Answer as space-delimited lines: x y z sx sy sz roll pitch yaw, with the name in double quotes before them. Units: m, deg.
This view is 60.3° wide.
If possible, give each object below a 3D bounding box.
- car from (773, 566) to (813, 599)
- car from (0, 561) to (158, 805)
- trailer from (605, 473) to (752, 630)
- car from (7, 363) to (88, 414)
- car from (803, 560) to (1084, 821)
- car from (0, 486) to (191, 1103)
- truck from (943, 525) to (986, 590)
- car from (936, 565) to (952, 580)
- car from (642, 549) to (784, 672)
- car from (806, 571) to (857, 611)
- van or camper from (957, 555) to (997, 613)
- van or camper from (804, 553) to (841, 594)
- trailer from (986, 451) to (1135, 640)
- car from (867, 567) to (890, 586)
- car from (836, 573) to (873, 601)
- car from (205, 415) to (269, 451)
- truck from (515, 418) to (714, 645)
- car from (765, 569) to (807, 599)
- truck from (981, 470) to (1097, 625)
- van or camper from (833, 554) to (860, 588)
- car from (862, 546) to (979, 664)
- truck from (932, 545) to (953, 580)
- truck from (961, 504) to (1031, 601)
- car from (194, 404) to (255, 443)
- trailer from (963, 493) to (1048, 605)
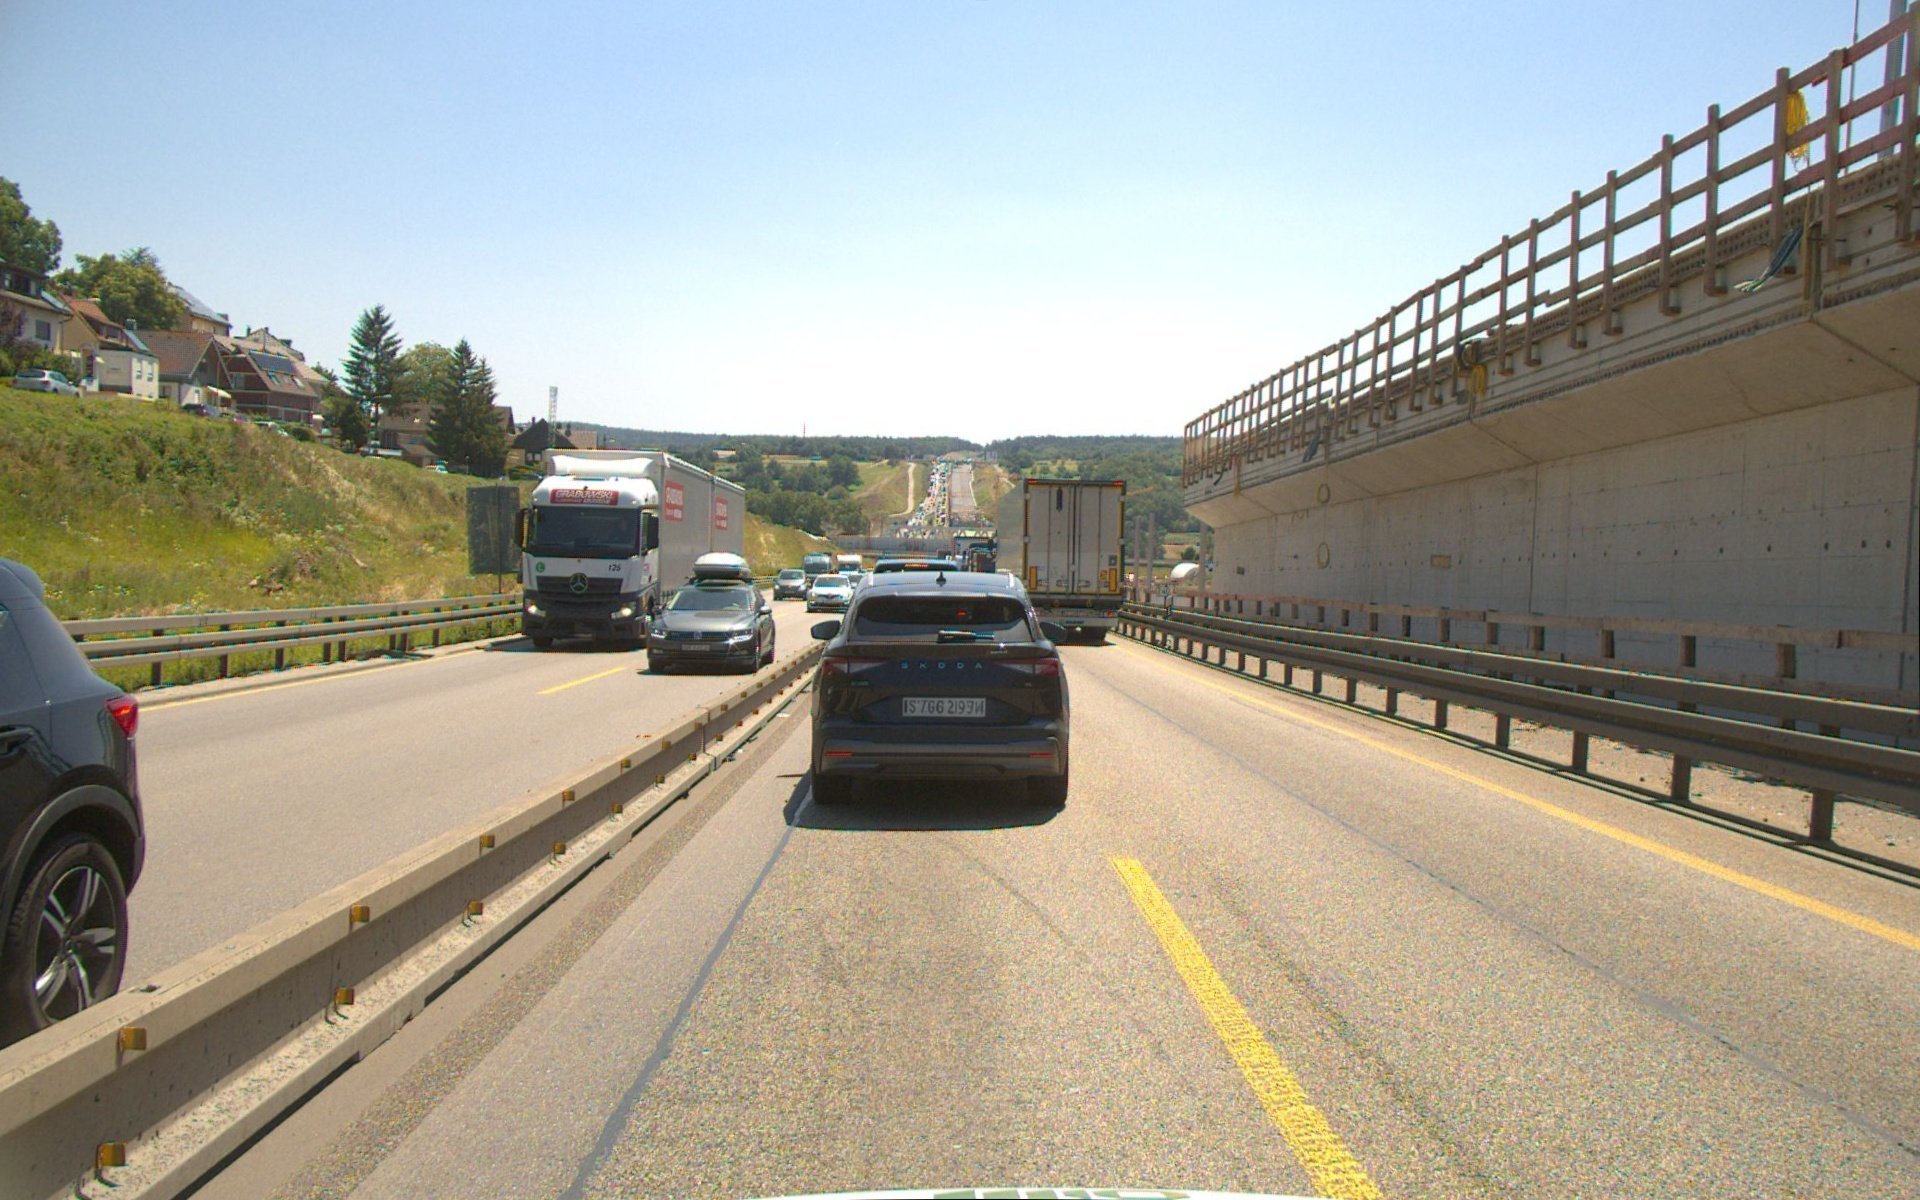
"car" -8.749 -0.924 86.998 1.737 1.609 4.285 2 1 -1
"car" -6.996 0.508 9.766 1.953 1.534 5.300 1 0 -1
"trailer" -7.932 -1.312 47.691 2.870 4.058 8.704 1 0 -1
"car" -42.671 -9.884 77.420 1.956 1.825 3.993 1 0 -8
"car" -0.124 0.558 12.520 1.765 1.635 4.000 1 0 -1
"car" -3.561 0.531 3.679 1.832 1.713 4.000 1 0 -1
"truck" 0.247 -3.090 124.811 2.795 4.543 11.913 1 0 -2
"car" -1.810 -3.040 185.538 1.776 1.629 4.573 1 1 -1
"car" -4.151 0.138 28.450 1.812 1.923 4.500 1 1 -1
"car" -5.000 -0.349 64.609 1.766 1.489 3.999 1 1 -1
"van or camper" 1.035 -0.918 99.433 2.339 3.338 6.469 1 0 1
"van or camper" -9.346 -1.808 112.737 2.096 2.618 6.563 1 1 -1
"trailer" 2.572 -1.498 47.143 3.116 4.591 13.106 1 1 -1
"car" -6.784 -1.979 138.010 1.805 1.501 4.834 1 1 -1
"car" -5.595 -0.706 88.369 1.792 1.458 4.628 0 1 -1
"car" -46.989 -10.845 107.600 2.302 1.825 4.797 1 0 -4
"truck" -7.658 -1.402 38.157 2.568 4.473 10.383 1 0 -1
"car" -9.121 -0.828 86.873 1.954 1.500 3.997 1 0 -3
"truck" 2.428 -1.671 53.608 3.116 4.591 8.164 1 1 -1
"van or camper" -10.698 -2.730 156.304 2.245 3.120 6.922 1 1 -1
"car" -0.724 0.097 30.149 1.953 1.959 4.506 1 0 -2
"truck" -2.353 -4.833 215.975 2.586 4.267 9.281 1 0 -1
"truck" 1.715 -2.251 83.083 3.116 4.592 8.163 1 0 -1
"car" -45.074 -10.827 101.496 2.137 1.825 4.755 1 0 -8
"trailer" 1.908 -2.102 76.090 3.116 4.592 14.962 1 0 -1
